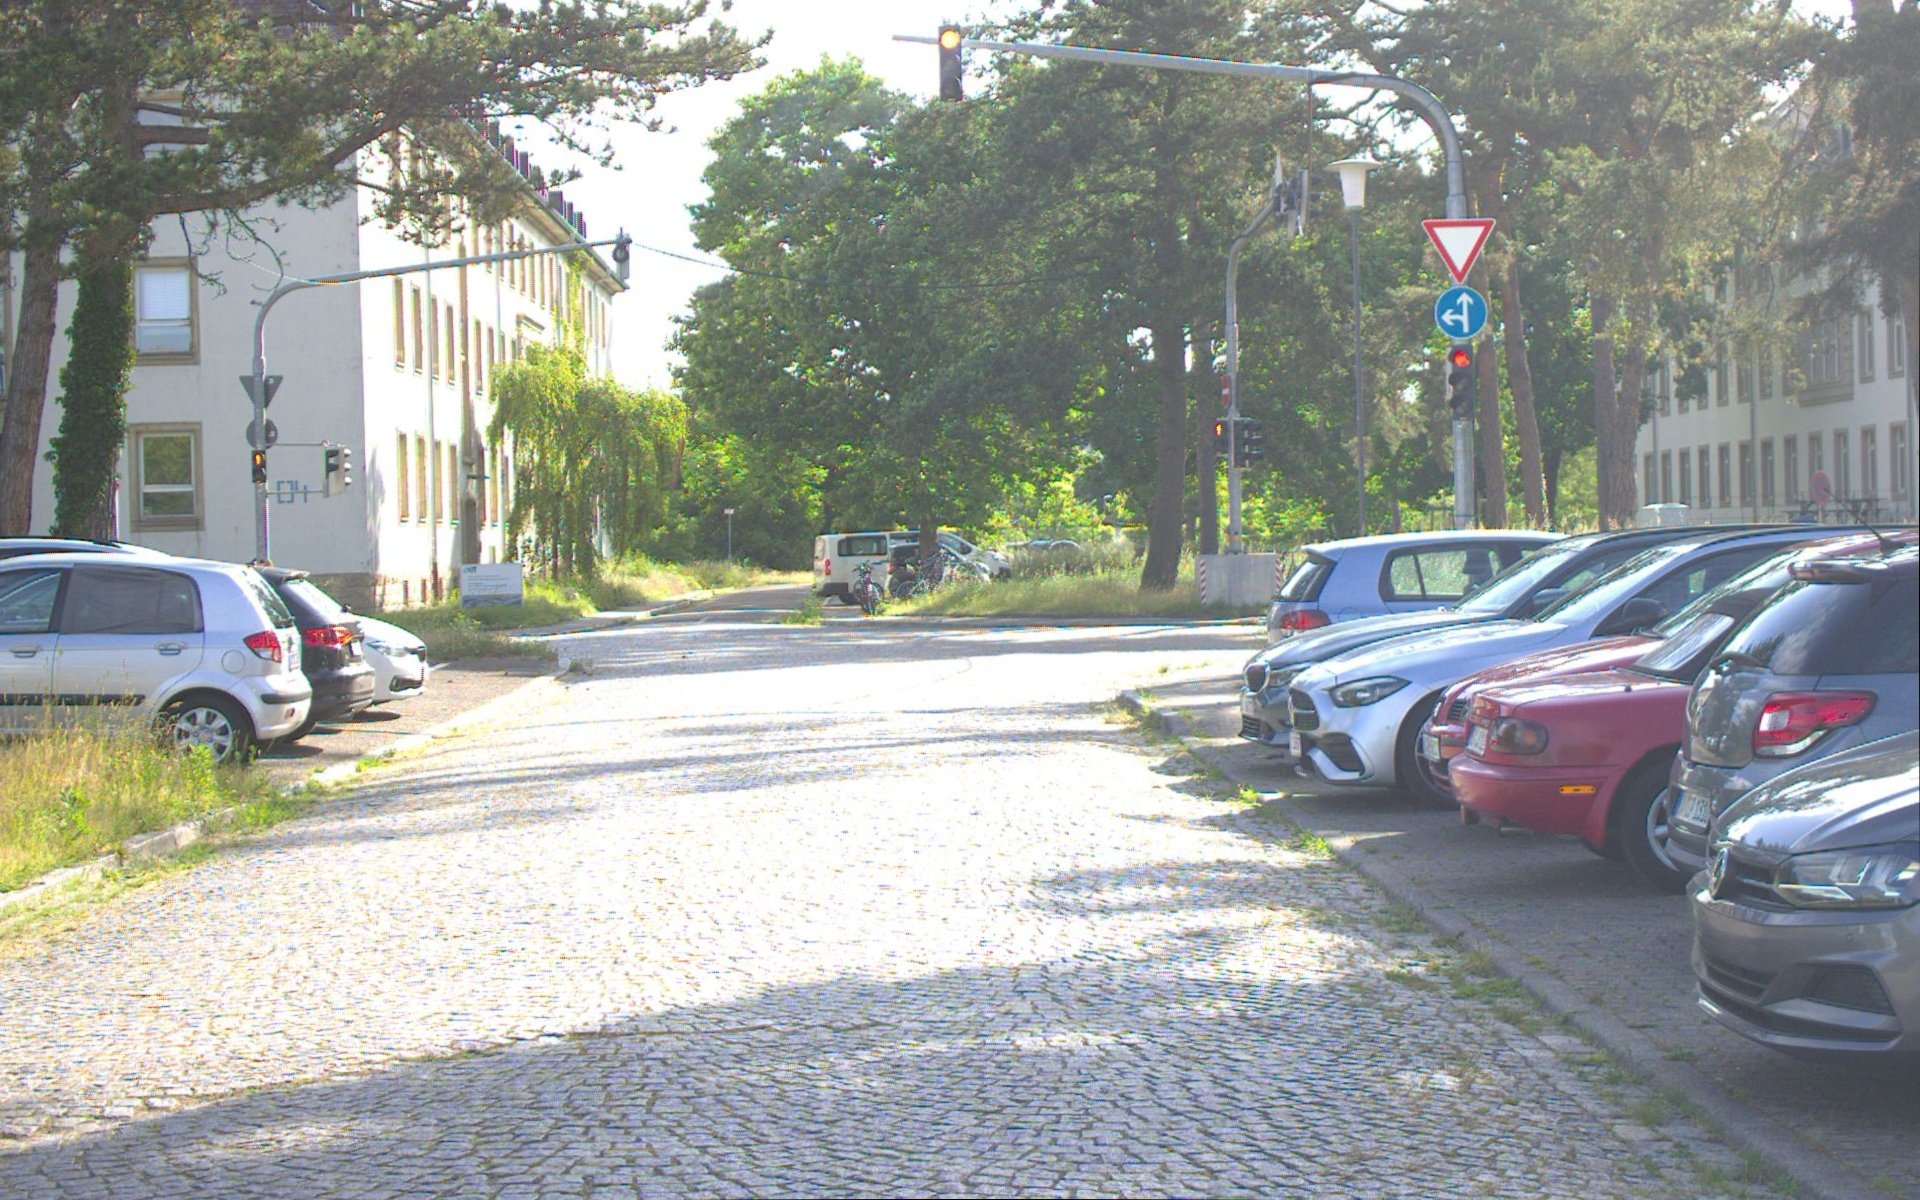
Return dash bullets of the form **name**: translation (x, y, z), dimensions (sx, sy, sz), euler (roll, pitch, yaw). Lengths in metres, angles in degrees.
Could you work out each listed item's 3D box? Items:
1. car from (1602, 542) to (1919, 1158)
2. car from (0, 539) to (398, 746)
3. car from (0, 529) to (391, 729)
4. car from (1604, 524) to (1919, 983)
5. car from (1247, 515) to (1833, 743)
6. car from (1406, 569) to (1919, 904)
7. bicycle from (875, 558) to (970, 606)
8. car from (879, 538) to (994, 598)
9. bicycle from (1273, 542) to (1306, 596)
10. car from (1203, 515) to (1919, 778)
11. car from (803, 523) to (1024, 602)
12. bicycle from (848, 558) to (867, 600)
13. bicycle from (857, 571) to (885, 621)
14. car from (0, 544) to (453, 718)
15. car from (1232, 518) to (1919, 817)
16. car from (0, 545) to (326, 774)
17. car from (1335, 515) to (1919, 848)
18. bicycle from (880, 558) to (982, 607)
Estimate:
- **car**: translation (3.799, 0.531, 9.313), dimensions (3.707, 1.444, 1.856), euler (-3, 1, 0)
- **car**: translation (-6.410, 0.295, 26.324), dimensions (3.986, 1.475, 1.803), euler (1, 1, -4)
- **car**: translation (-7.005, 0.222, 29.273), dimensions (4.079, 1.588, 1.886), euler (1, 1, -4)
- **car**: translation (4.344, 0.426, 12.187), dimensions (3.707, 1.444, 1.816), euler (-3, 1, -1)
- **car**: translation (4.108, 0.181, 24.763), dimensions (3.882, 1.410, 1.637), euler (-3, 1, 0)
- **car**: translation (3.914, 0.514, 14.785), dimensions (3.707, 1.219, 1.746), euler (-3, 1, 0)
- **bicycle**: translation (-0.828, -0.393, 75.292), dimensions (2.004, 1.007, 0.632), euler (1, 0, -8)
- **car**: translation (-0.615, -0.822, 88.055), dimensions (2.781, 1.462, 1.671), euler (1, 0, -5)
- **bicycle**: translation (5.899, -0.553, 61.558), dimensions (0.300, 0.957, 1.586), euler (1, 0, -5)
- **car**: translation (3.922, 0.265, 21.982), dimensions (4.559, 1.410, 1.637), euler (-3, 1, 0)
- **car**: translation (-1.233, -0.985, 91.638), dimensions (5.520, 2.007, 2.001), euler (1, 0, -19)
- **bicycle**: translation (-2.482, -0.510, 83.214), dimensions (0.417, 1.007, 1.483), euler (1, 0, 0)
- **bicycle**: translation (-1.819, -0.082, 69.943), dimensions (0.467, 1.007, 1.586), euler (1, 0, -5)
- **car**: translation (-6.919, 0.265, 31.529), dimensions (4.333, 1.463, 1.831), euler (1, 1, -4)
- **car**: translation (3.848, 0.331, 19.266), dimensions (4.432, 1.410, 1.781), euler (-3, 1, 0)
- **car**: translation (-6.369, 0.373, 23.722), dimensions (3.745, 1.482, 1.646), euler (1, 1, -4)
- **car**: translation (4.062, 0.345, 17.185), dimensions (4.127, 1.444, 1.637), euler (-3, 1, 0)
- **bicycle**: translation (-0.624, -0.378, 73.581), dimensions (2.108, 1.007, 0.621), euler (1, 0, -8)
